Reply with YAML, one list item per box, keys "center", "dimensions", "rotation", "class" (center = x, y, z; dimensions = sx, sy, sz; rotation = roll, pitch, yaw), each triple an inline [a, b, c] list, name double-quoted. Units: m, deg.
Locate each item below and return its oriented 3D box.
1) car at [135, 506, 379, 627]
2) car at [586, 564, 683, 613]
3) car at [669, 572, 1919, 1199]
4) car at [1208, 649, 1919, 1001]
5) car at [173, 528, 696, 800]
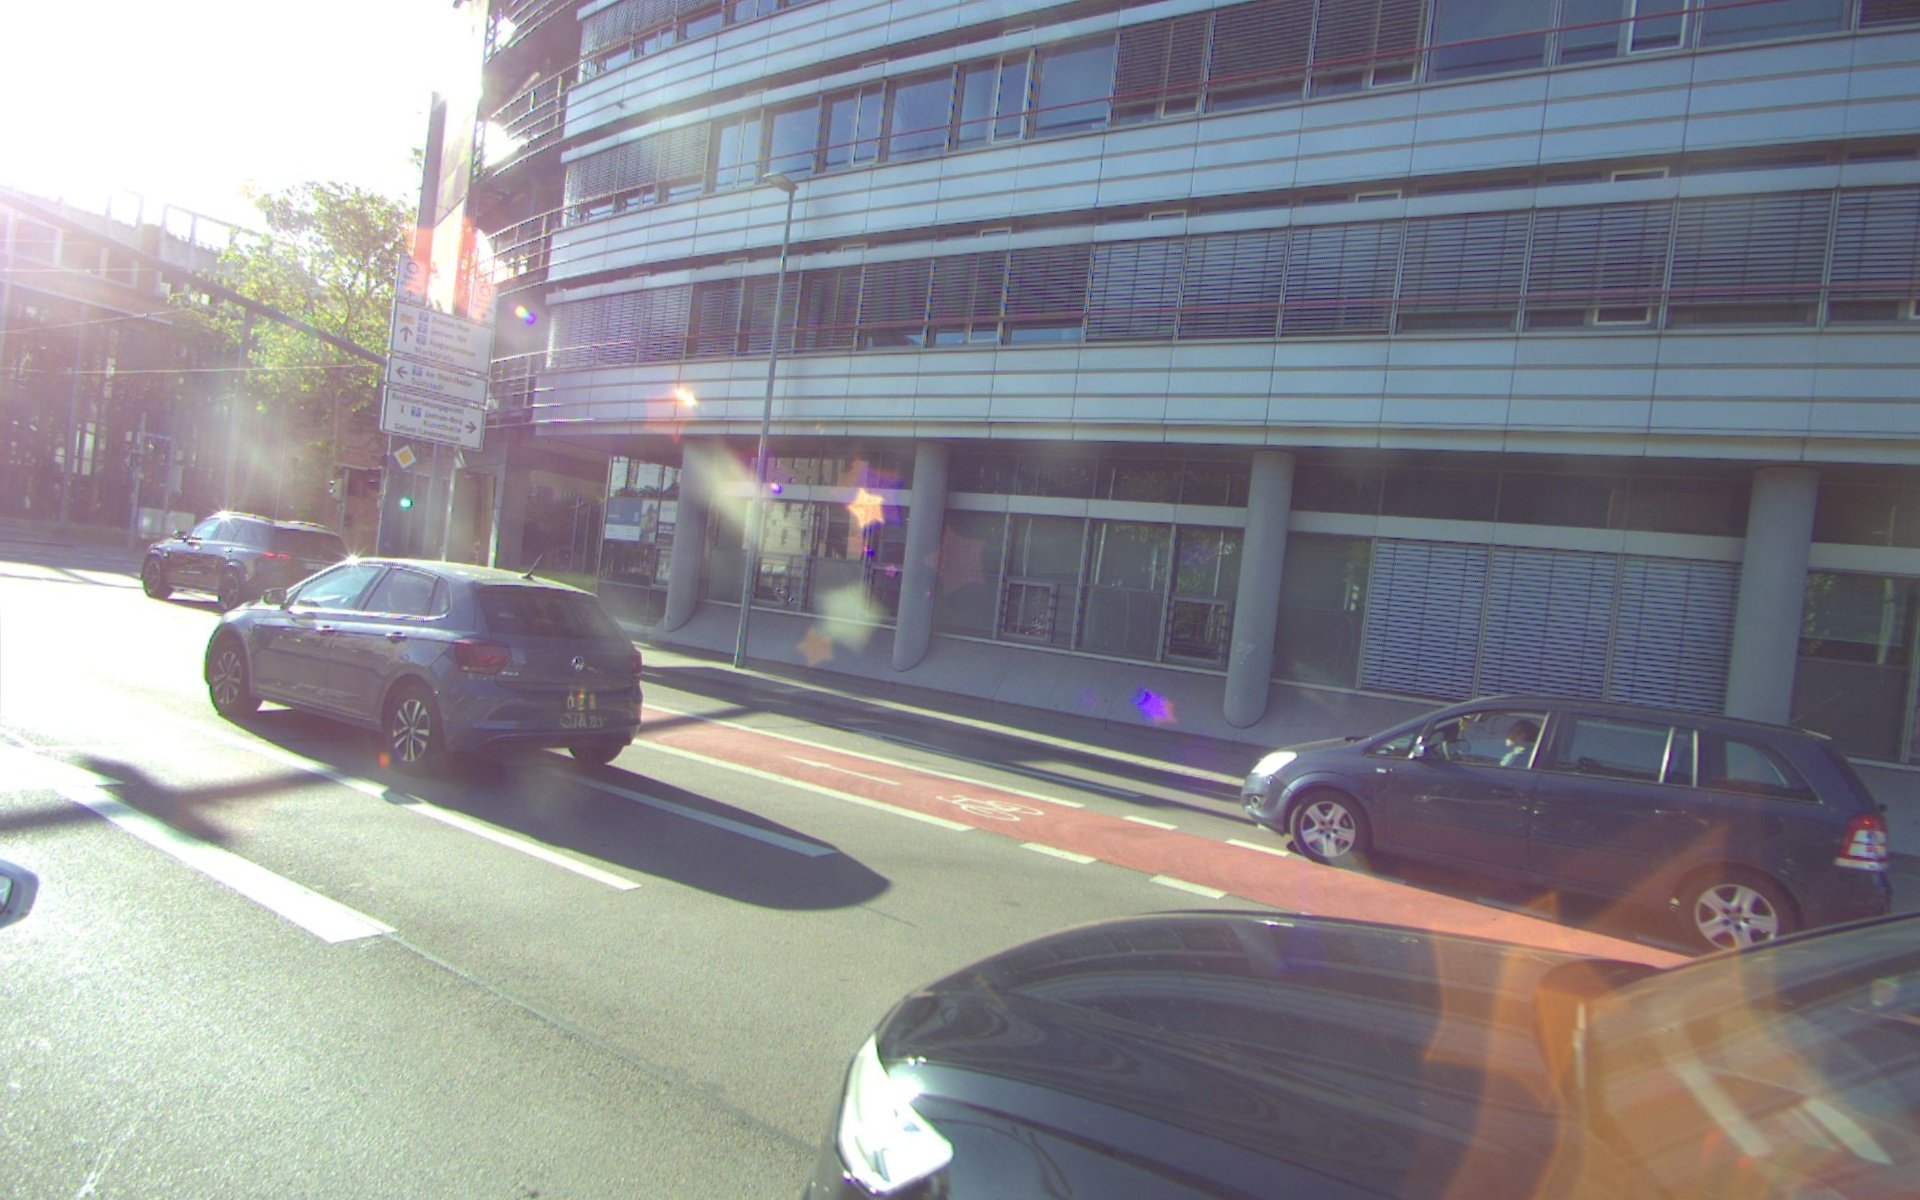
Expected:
- center: [-13.461, -0.645, 19.241]
  dimensions: [4.253, 1.771, 1.998]
  rotation: [7, 0, 28]
  class: "car"
- center: [-14.661, -0.480, 45.539]
  dimensions: [1.831, 1.670, 4.001]
  rotation: [7, -2, 24]
  class: "car"
- center: [1.847, 0.973, 1.117]
  dimensions: [4.426, 1.510, 1.811]
  rotation: [6, 0, 36]
  class: "car"
- center: [4.498, 1.512, 8.136]
  dimensions: [4.393, 1.649, 1.688]
  rotation: [7, 0, 35]
  class: "car"
- center: [-4.309, 0.419, 8.155]
  dimensions: [3.932, 1.474, 1.811]
  rotation: [7, -1, 30]
  class: "car"
